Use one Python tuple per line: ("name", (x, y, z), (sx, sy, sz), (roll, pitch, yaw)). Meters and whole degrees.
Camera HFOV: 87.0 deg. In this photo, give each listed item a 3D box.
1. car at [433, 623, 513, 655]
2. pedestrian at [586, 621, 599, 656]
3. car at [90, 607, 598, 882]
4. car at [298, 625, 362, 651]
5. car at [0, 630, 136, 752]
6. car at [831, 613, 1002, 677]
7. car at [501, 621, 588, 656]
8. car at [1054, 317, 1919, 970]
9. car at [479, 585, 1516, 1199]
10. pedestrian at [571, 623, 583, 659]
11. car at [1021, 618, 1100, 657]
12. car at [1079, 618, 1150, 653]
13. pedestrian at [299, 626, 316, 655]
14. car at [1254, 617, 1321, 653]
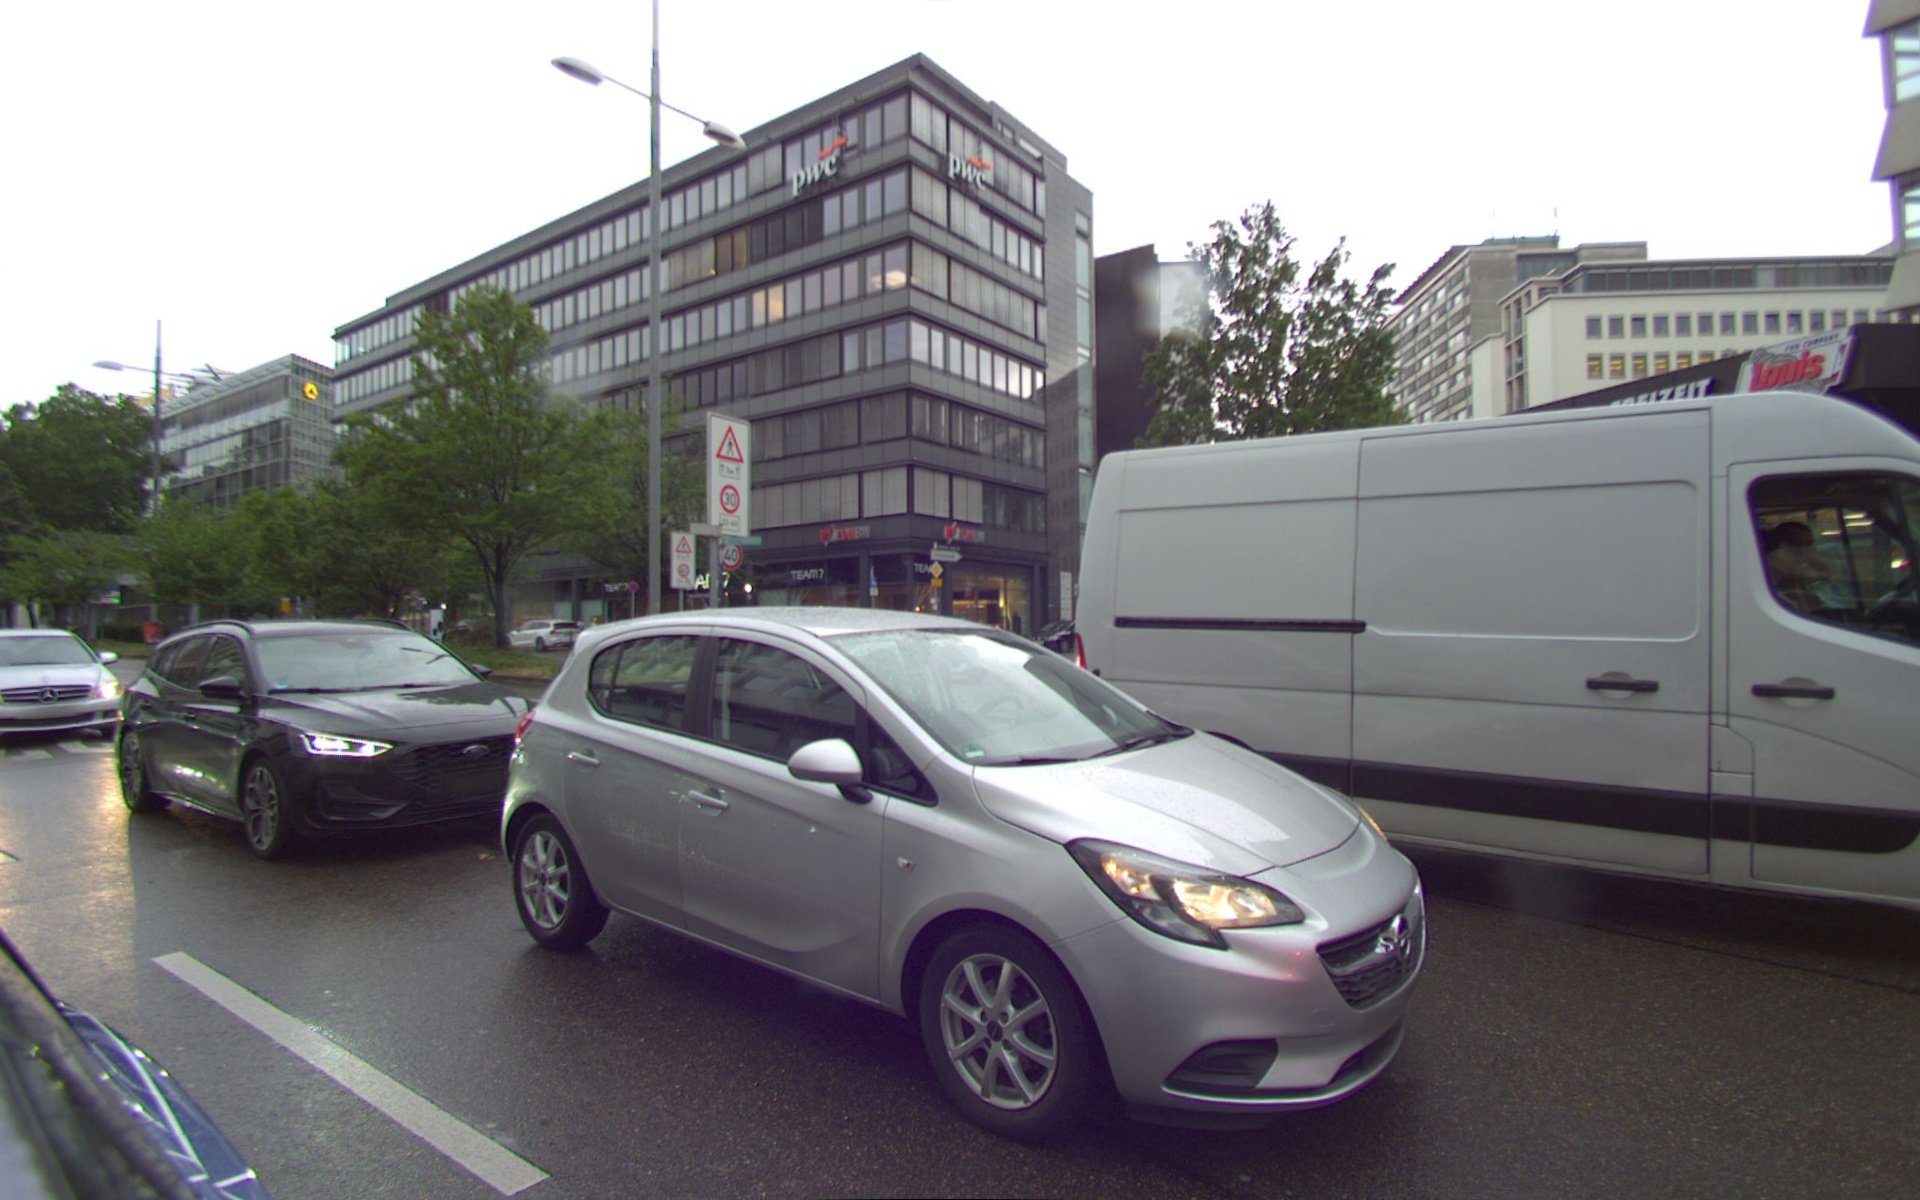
("car", (-24.591, 1.967, 51.090), (4.100, 1.518, 1.975), (-2, -1, 36))
("pedestrian", (-21.702, 2.259, 59.773), (0.460, 2.029, 0.568), (-2, -1, 36))
("car", (-4.593, 0.820, 7.324), (4.087, 1.446, 1.755), (-2, -1, 37))
("car", (-37.937, 2.287, 60.901), (3.992, 1.518, 1.975), (-2, -1, 36))
("car", (-12.553, 1.129, 13.417), (4.091, 1.391, 1.754), (-2, -1, 39))
("car", (-1.103, 1.046, 24.180), (3.998, 1.383, 1.727), (-2, -1, 41))
("car", (-19.402, 1.785, 47.240), (3.992, 1.518, 1.975), (-2, -1, 36))
("car", (3.346, 0.186, 5.210), (5.469, 2.459, 1.929), (-2, -1, 36))
("car", (-0.173, 0.733, 3.968), (3.872, 1.446, 1.631), (-2, -1, 40))
("pedestrian", (-21.917, 2.334, 57.909), (0.296, 2.029, 0.534), (-2, -1, 35))
("car", (4.548, 1.662, 45.463), (1.847, 1.596, 3.716), (-2, -1, 37))
("car", (7.582, 1.718, 49.459), (1.847, 1.596, 3.716), (-2, -1, 37))
("pedestrian", (-46.724, 2.923, 72.460), (0.539, 2.029, 0.917), (-2, -1, 39))
("car", (15.573, 1.630, 48.032), (1.847, 1.596, 3.716), (-2, -1, 37))
